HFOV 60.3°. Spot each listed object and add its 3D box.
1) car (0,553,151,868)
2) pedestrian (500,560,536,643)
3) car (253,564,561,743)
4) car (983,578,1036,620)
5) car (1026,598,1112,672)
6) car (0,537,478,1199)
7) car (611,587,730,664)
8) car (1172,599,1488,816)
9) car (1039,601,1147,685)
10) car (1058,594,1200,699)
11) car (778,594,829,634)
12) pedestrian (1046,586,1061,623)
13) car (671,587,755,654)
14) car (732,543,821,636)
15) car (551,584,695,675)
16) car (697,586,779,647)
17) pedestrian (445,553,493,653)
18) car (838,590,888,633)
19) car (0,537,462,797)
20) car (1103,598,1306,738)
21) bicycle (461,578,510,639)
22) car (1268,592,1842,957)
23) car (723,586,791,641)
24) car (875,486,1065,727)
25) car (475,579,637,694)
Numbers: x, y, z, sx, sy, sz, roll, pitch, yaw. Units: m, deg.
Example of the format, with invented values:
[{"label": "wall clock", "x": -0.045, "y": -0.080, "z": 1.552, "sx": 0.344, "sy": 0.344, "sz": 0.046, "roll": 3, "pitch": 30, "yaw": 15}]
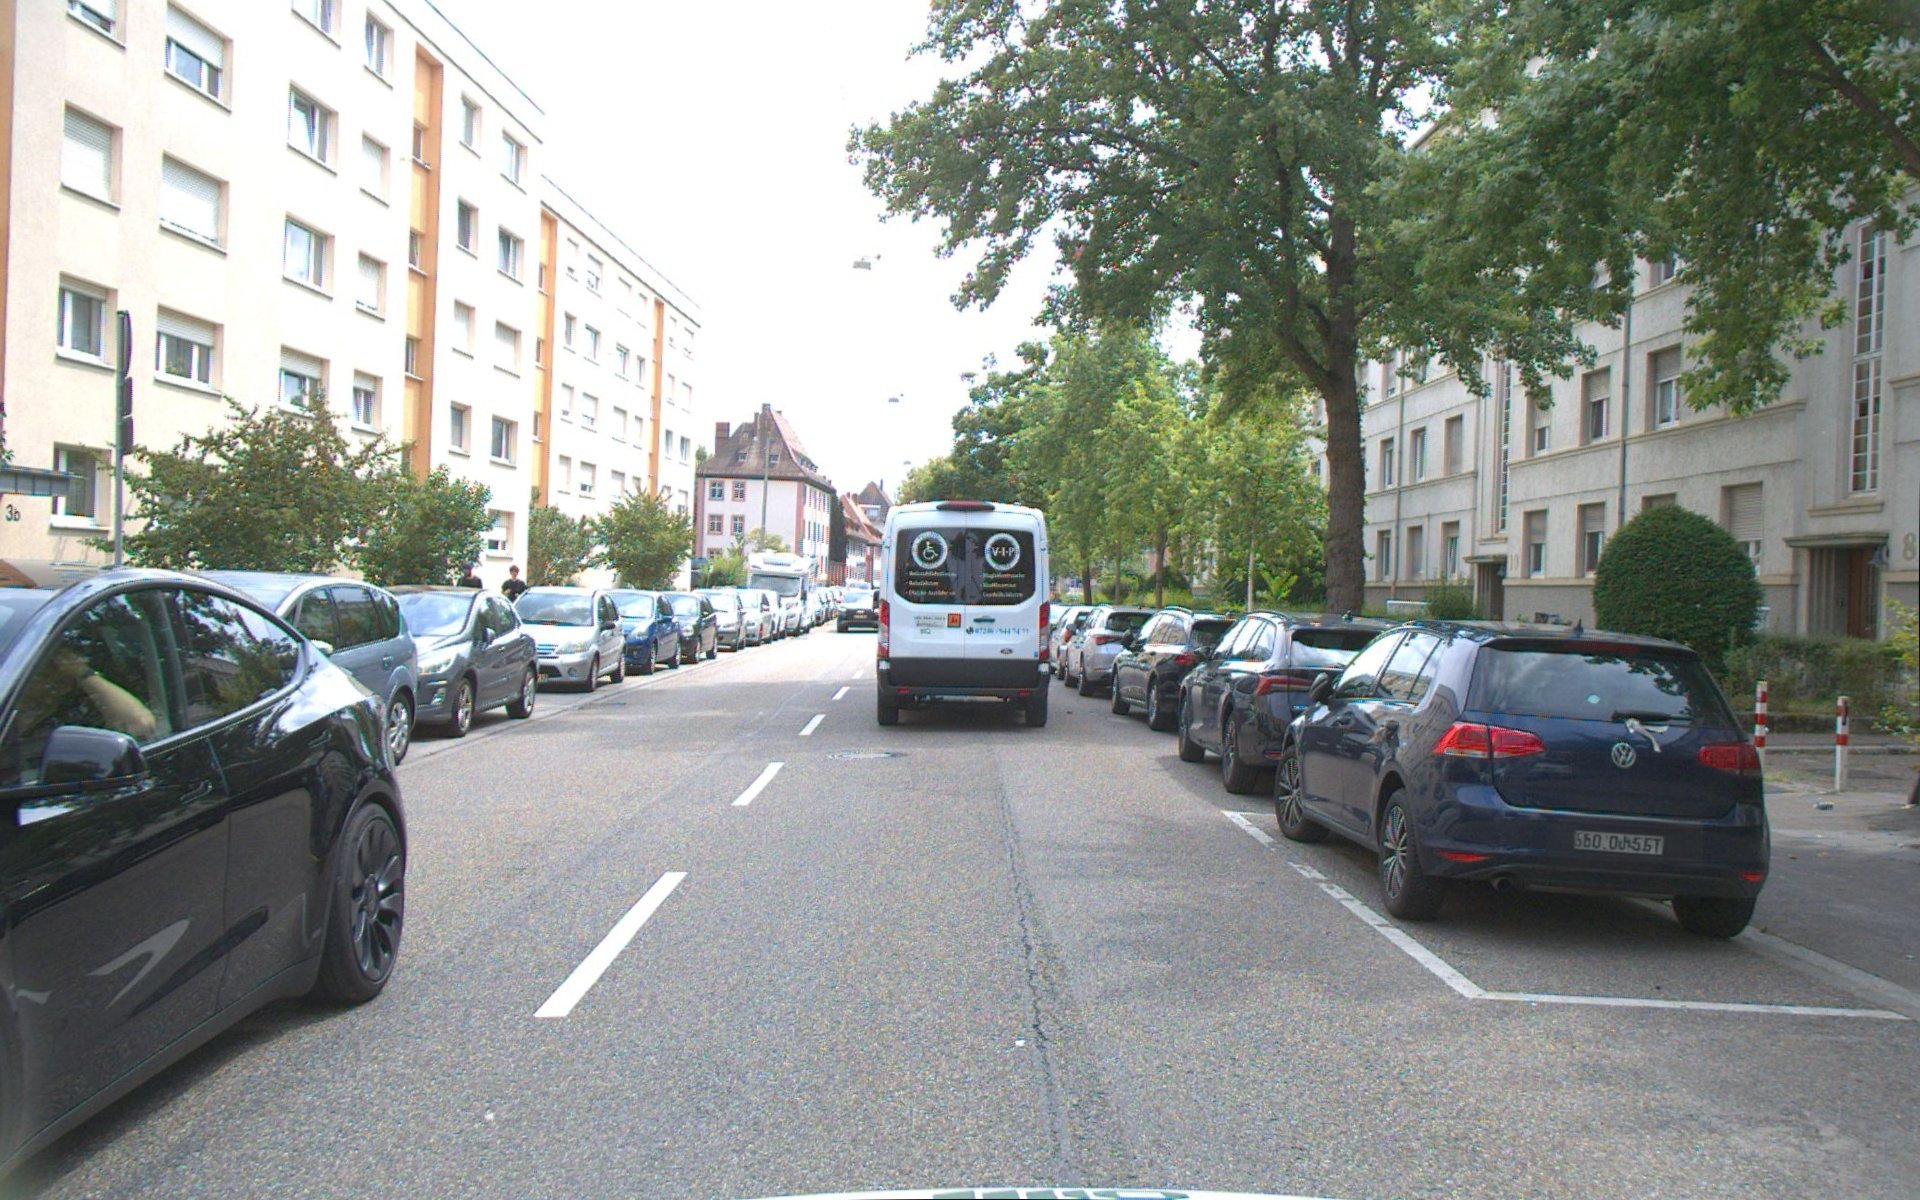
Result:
[{"label": "car", "x": -5.825, "y": 0.543, "z": 7.922, "sx": 1.663, "sy": 1.641, "sz": 4.476, "roll": 3, "pitch": 0, "yaw": -1}, {"label": "pedestrian", "x": -9.966, "y": 0.035, "z": 37.328, "sx": 0.607, "sy": 1.845, "sz": 0.803, "roll": 1, "pitch": 0, "yaw": -3}, {"label": "car", "x": -5.938, "y": 0.519, "z": 18.360, "sx": 1.903, "sy": 1.641, "sz": 4.301, "roll": 3, "pitch": 0, "yaw": 0}, {"label": "car", "x": 2.209, "y": -0.045, "z": 75.090, "sx": 1.889, "sy": 1.690, "sz": 5.322, "roll": 4, "pitch": 0, "yaw": -3}, {"label": "car", "x": 2.454, "y": 0.751, "z": 38.096, "sx": 1.743, "sy": 1.495, "sz": 4.615, "roll": 3, "pitch": 0, "yaw": 2}, {"label": "car", "x": -2.968, "y": 0.647, "z": 4.634, "sx": 1.911, "sy": 1.547, "sz": 4.612, "roll": 0, "pitch": 0, "yaw": -1}, {"label": "car", "x": -6.314, "y": 0.520, "z": 36.530, "sx": 1.781, "sy": 1.509, "sz": 4.116, "roll": 3, "pitch": 0, "yaw": 1}, {"label": "car", "x": 3.019, "y": 0.791, "z": 14.456, "sx": 1.663, "sy": 1.495, "sz": 4.559, "roll": 3, "pitch": 0, "yaw": 0}, {"label": "car", "x": 2.590, "y": 0.807, "z": 32.865, "sx": 1.636, "sy": 1.425, "sz": 3.850, "roll": 4, "pitch": 0, "yaw": -2}, {"label": "car", "x": 2.711, "y": 0.700, "z": 27.447, "sx": 1.663, "sy": 1.495, "sz": 4.716, "roll": 3, "pitch": 0, "yaw": -2}, {"label": "car", "x": -6.872, "y": 0.587, "z": 73.193, "sx": 1.848, "sy": 1.607, "sz": 5.217, "roll": 3, "pitch": 0, "yaw": -2}, {"label": "pedestrian", "x": 4.654, "y": 0.229, "z": 82.350, "sx": 0.520, "sy": 1.860, "sz": 0.515, "roll": 1, "pitch": 0, "yaw": -44}, {"label": "car", "x": -6.379, "y": 0.485, "z": 43.080, "sx": 1.688, "sy": 1.566, "sz": 4.003, "roll": 2, "pitch": 1, "yaw": -2}, {"label": "car", "x": -6.615, "y": -0.377, "z": 60.421, "sx": 2.460, "sy": 3.076, "sz": 7.394, "roll": 3, "pitch": 0, "yaw": -2}, {"label": "car", "x": -6.270, "y": 0.525, "z": 31.207, "sx": 1.781, "sy": 1.509, "sz": 3.885, "roll": 3, "pitch": 0, "yaw": 1}, {"label": "car", "x": -6.410, "y": 0.460, "z": 48.254, "sx": 1.719, "sy": 1.607, "sz": 4.568, "roll": 3, "pitch": 0, "yaw": 0}, {"label": "pedestrian", "x": -9.307, "y": 0.051, "z": 31.370, "sx": 0.607, "sy": 1.844, "sz": 0.899, "roll": 3, "pitch": 0, "yaw": -3}, {"label": "car", "x": -3.766, "y": 0.429, "z": 64.878, "sx": 1.781, "sy": 1.613, "sz": 4.434, "roll": 1, "pitch": 0, "yaw": -2}, {"label": "car", "x": -5.803, "y": 0.432, "z": 13.447, "sx": 1.902, "sy": 1.641, "sz": 4.862, "roll": 3, "pitch": 0, "yaw": 1}, {"label": "car", "x": 2.996, "y": 0.773, "z": 21.267, "sx": 1.663, "sy": 1.495, "sz": 4.752, "roll": 3, "pitch": 0, "yaw": -2}, {"label": "bicycle", "x": -11.636, "y": 0.193, "z": 40.635, "sx": 0.452, "sy": 1.418, "sz": 2.131, "roll": 2, "pitch": 1, "yaw": 3}, {"label": "car", "x": 2.976, "y": 0.758, "z": 9.257, "sx": 1.663, "sy": 1.495, "sz": 4.101, "roll": 3, "pitch": 0, "yaw": 0}, {"label": "car", "x": -6.518, "y": 0.409, "z": 53.486, "sx": 1.654, "sy": 1.607, "sz": 4.592, "roll": 3, "pitch": 0, "yaw": -2}, {"label": "car", "x": 0.008, "y": 0.082, "z": 20.283, "sx": 2.029, "sy": 2.585, "sz": 4.632, "roll": 1, "pitch": 0, "yaw": -3}, {"label": "car", "x": -6.247, "y": 0.524, "z": 25.965, "sx": 1.636, "sy": 1.589, "sz": 3.850, "roll": 3, "pitch": 0, "yaw": -2}]
